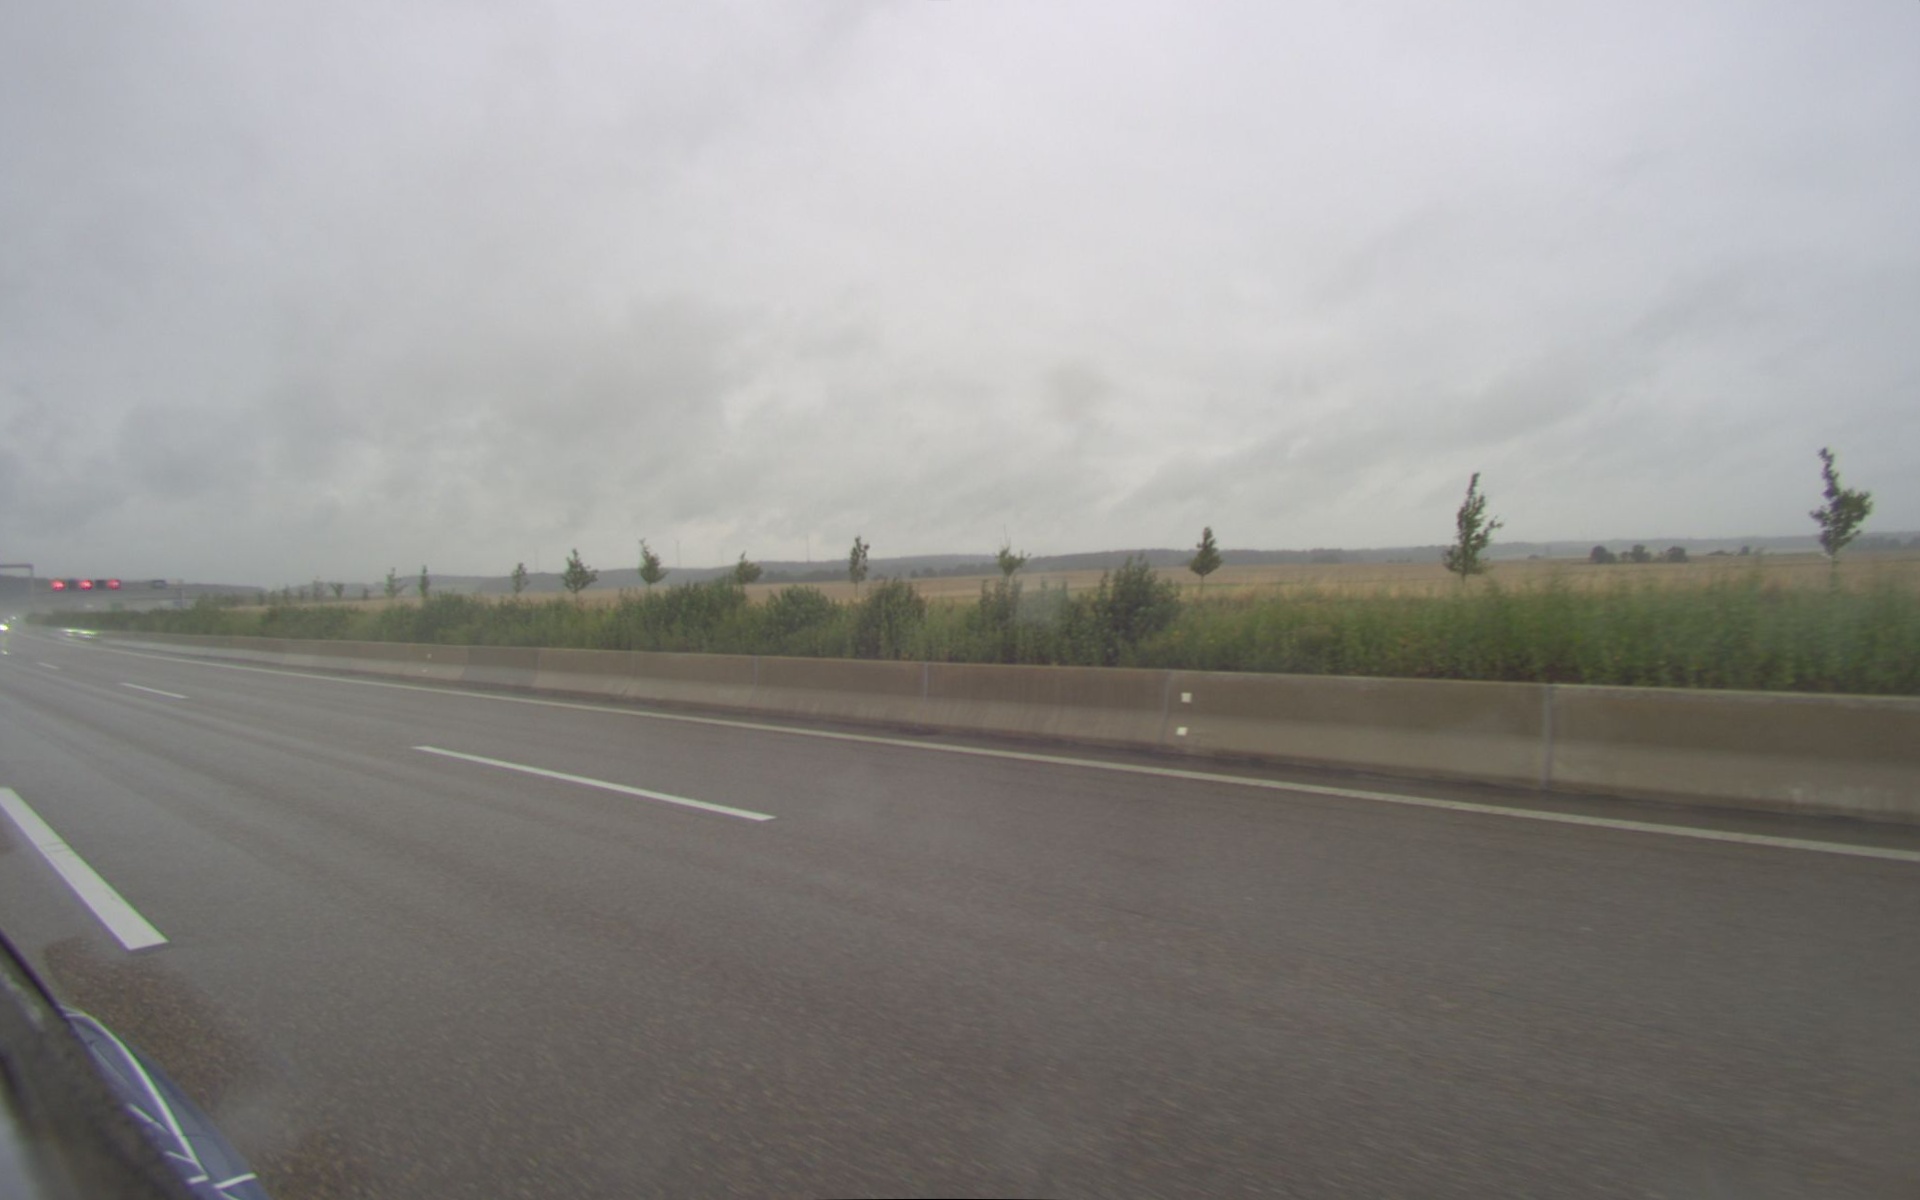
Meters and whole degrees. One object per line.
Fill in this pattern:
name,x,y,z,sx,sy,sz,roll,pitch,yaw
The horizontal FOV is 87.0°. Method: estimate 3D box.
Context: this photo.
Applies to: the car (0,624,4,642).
car,-87.449,2.990,91.254,1.677,1.563,3.736,-1,0,-44
